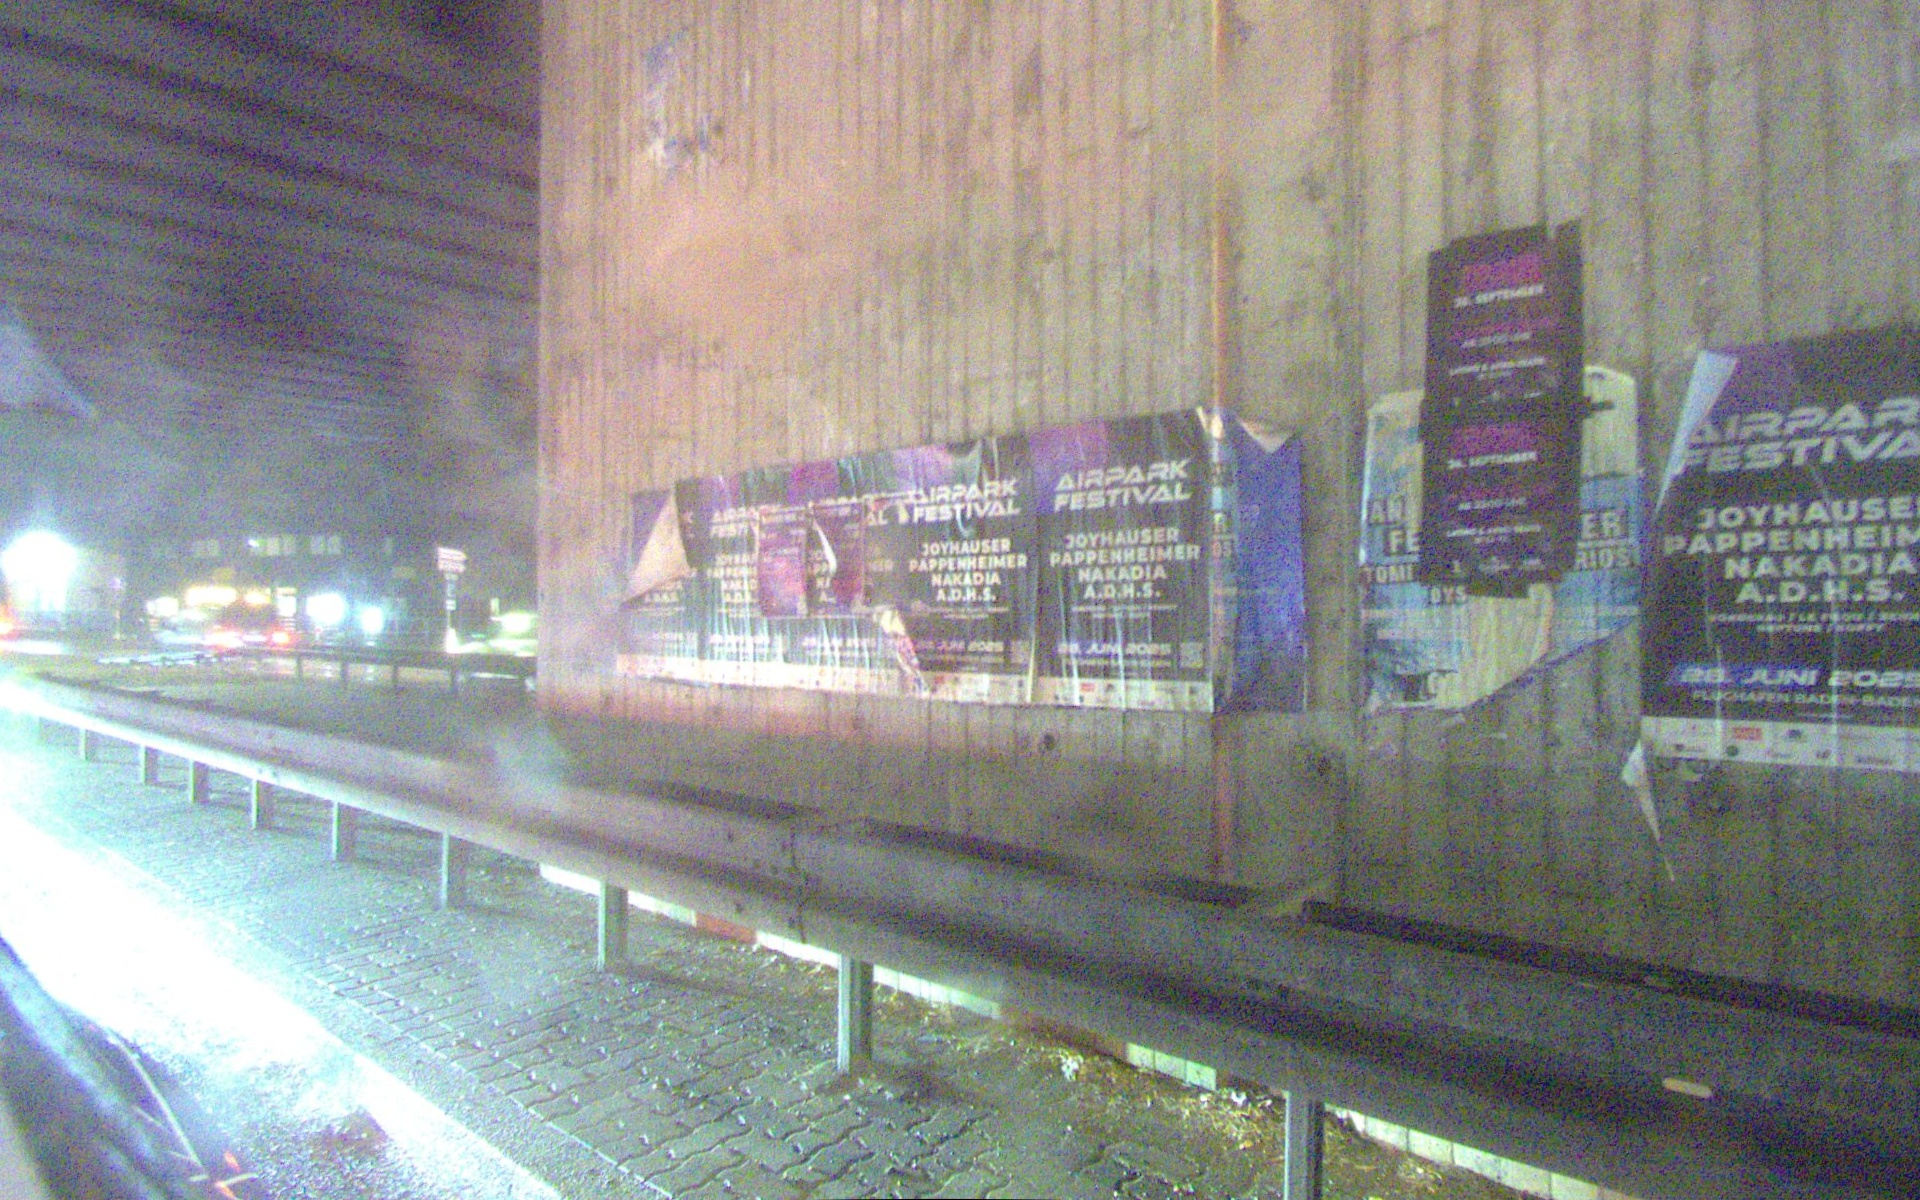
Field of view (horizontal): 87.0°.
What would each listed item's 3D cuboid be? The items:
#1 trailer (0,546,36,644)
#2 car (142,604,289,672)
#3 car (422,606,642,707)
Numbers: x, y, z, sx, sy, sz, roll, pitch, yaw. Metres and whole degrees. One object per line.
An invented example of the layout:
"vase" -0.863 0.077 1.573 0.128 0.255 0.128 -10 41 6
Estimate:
"trailer" -48.066 -0.115 44.566 13.784 4.208 3.952 -1 0 14
"car" -21.004 1.020 28.489 4.908 1.754 1.947 -1 0 36
"car" -8.437 1.028 19.835 4.386 1.754 1.888 -1 0 34
